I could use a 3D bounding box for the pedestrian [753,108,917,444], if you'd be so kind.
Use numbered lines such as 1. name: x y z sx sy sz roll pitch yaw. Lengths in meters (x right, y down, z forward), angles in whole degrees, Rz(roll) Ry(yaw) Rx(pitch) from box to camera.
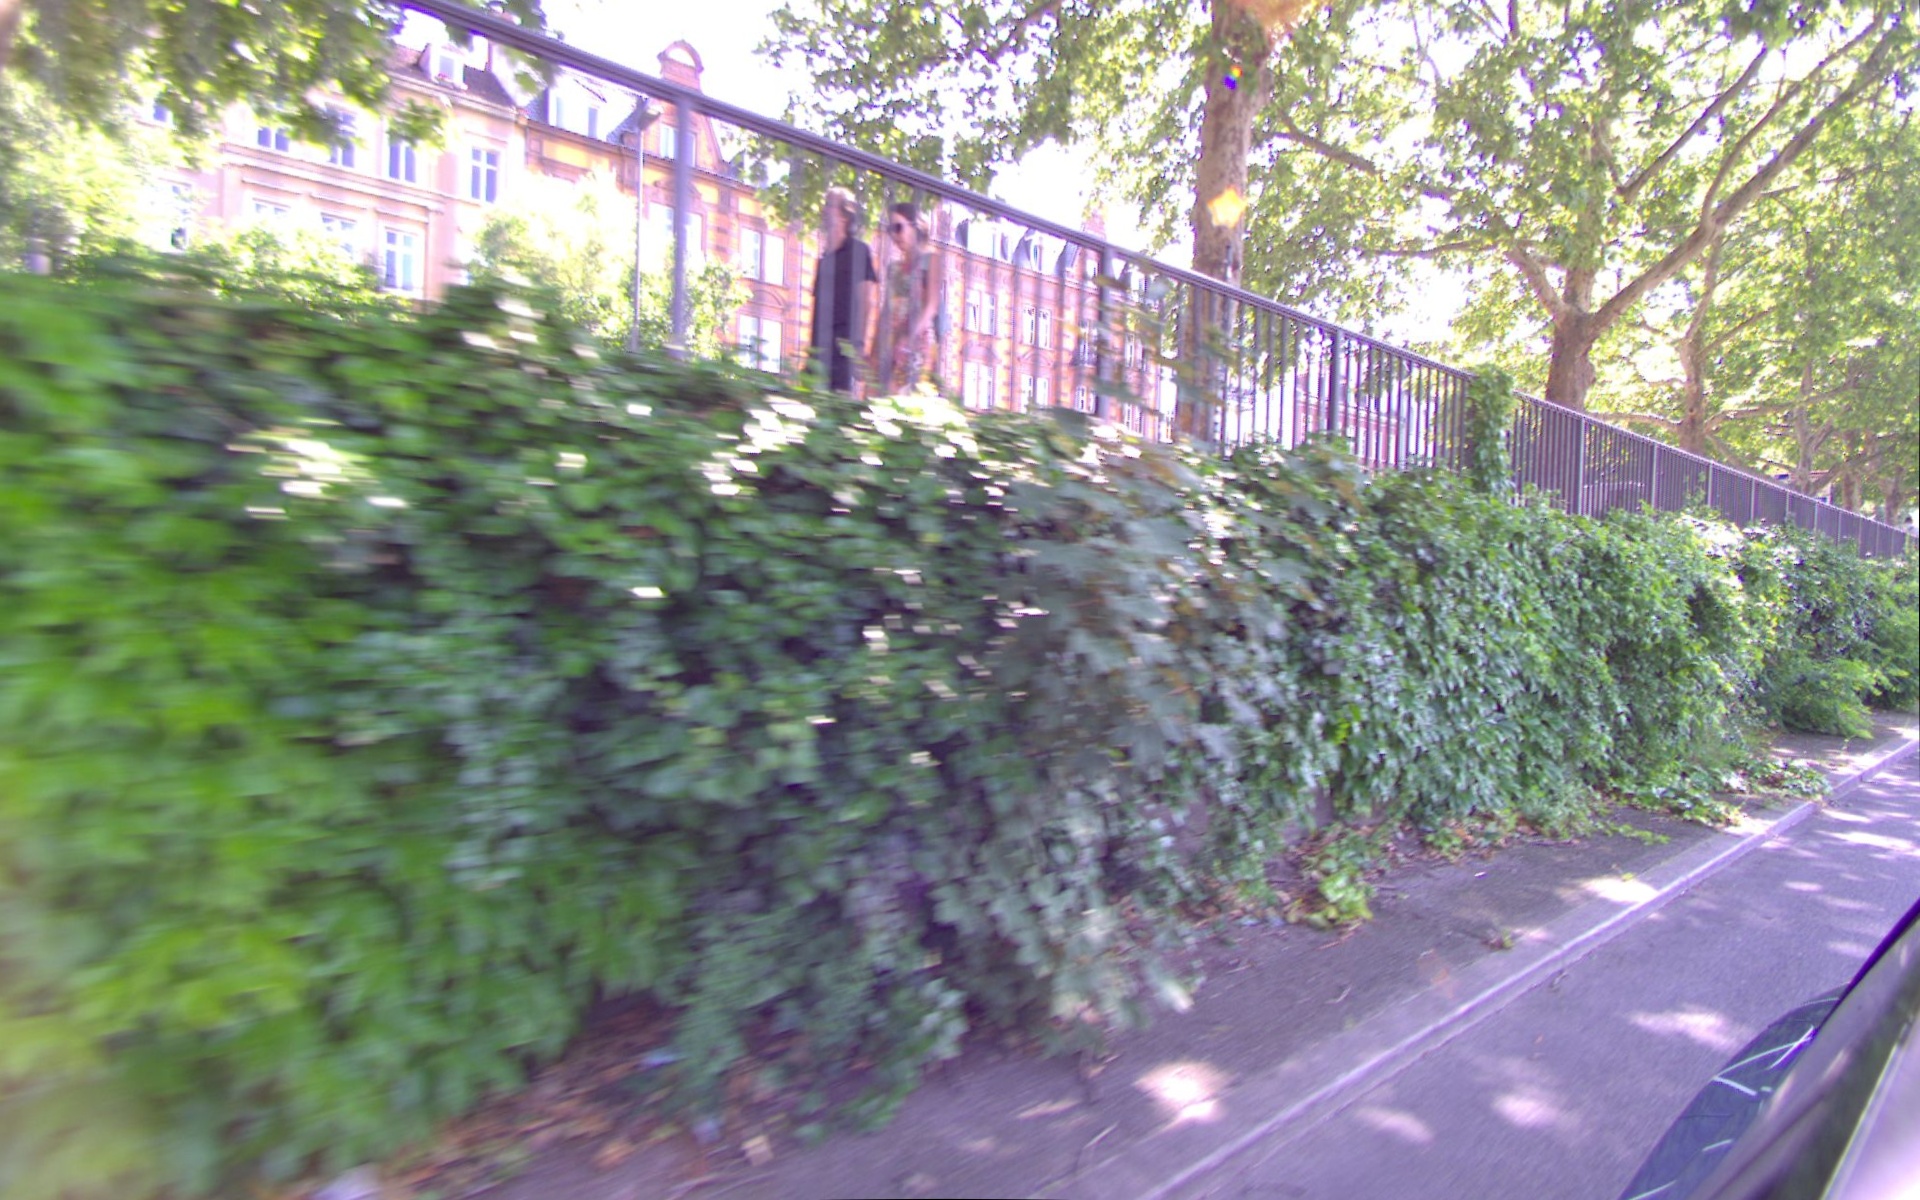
1. pedestrian: -0.717 -1.780 5.804 0.646 1.660 0.617 3 1 42

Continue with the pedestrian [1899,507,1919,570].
1. pedestrian: 25.379 -1.609 26.710 0.796 1.611 0.738 1 1 -41

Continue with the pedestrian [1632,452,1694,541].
1. pedestrian: 10.573 -1.541 15.213 0.679 1.259 0.577 1 1 -41

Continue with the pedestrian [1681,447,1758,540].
1. pedestrian: 10.923 -1.506 14.560 0.729 1.259 0.712 1 1 -41

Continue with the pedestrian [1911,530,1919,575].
1. pedestrian: 34.422 -1.688 36.054 0.639 1.611 0.666 1 1 -41

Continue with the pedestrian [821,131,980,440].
1. pedestrian: -0.321 -1.640 5.484 0.584 1.437 0.580 3 1 42
